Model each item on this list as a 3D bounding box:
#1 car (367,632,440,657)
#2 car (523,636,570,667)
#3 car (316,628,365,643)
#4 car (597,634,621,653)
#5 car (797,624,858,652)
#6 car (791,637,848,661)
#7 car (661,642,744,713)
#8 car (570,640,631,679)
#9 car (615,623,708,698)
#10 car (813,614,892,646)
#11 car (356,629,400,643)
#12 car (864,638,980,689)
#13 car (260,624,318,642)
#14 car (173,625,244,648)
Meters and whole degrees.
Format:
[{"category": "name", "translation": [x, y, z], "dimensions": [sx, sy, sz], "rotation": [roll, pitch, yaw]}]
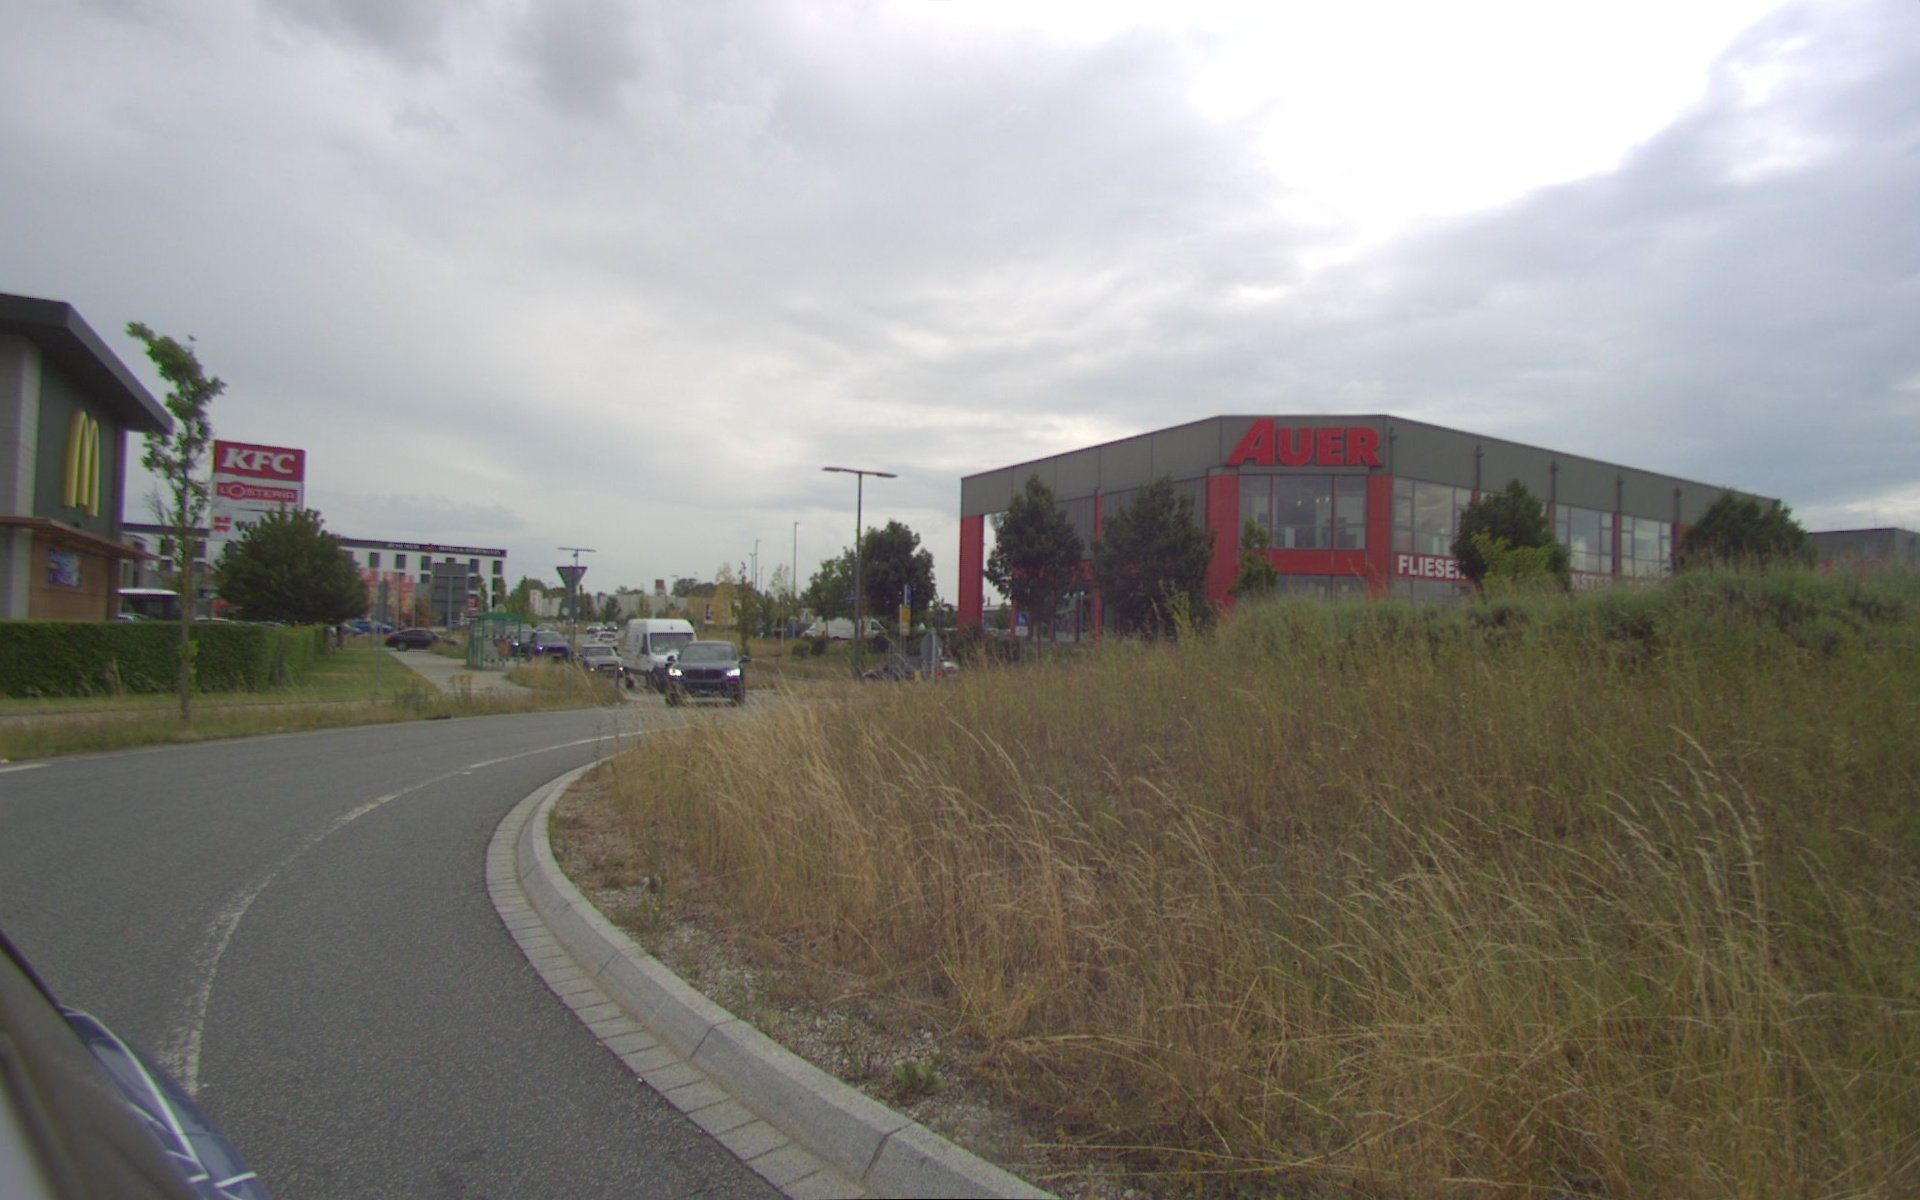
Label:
[{"category": "car", "translation": [-35.888, 2.837, 65.243], "dimensions": [3.934, 1.497, 1.852], "rotation": [1, -1, -36]}, {"category": "car", "translation": [-23.345, 2.900, 57.073], "dimensions": [1.836, 1.620, 4.012], "rotation": [3, -2, -31]}, {"category": "car", "translation": [-63.745, 3.643, 104.131], "dimensions": [3.931, 1.497, 1.853], "rotation": [2, -2, -19]}, {"category": "car", "translation": [-27.839, 3.444, 80.243], "dimensions": [1.698, 1.419, 4.657], "rotation": [2, -4, -19]}, {"category": "car", "translation": [-11.722, 3.308, 89.486], "dimensions": [4.971, 2.391, 2.071], "rotation": [1, -1, -31]}, {"category": "car", "translation": [-13.538, 4.712, 97.429], "dimensions": [4.969, 2.240, 2.071], "rotation": [2, -2, -24]}, {"category": "car", "translation": [-6.541, 1.938, 26.087], "dimensions": [1.838, 1.620, 4.009], "rotation": [2, -2, -11]}, {"category": "car", "translation": [-16.495, 2.695, 46.368], "dimensions": [1.836, 1.620, 4.012], "rotation": [3, -2, -31]}, {"category": "car", "translation": [-11.205, 2.148, 37.711], "dimensions": [1.992, 2.547, 6.124], "rotation": [3, -2, -29]}, {"category": "car", "translation": [-9.042, 2.515, 85.240], "dimensions": [6.309, 2.644, 2.071], "rotation": [1, -1, -28]}, {"category": "car", "translation": [-65.076, 4.043, 113.209], "dimensions": [3.932, 1.497, 1.852], "rotation": [1, -1, -15]}, {"category": "car", "translation": [-1.461, 2.269, 37.329], "dimensions": [1.969, 1.620, 4.302], "rotation": [1, -1, -42]}, {"category": "car", "translation": [-59.268, 2.900, 89.422], "dimensions": [3.930, 1.534, 1.853], "rotation": [2, -2, -23]}, {"category": "car", "translation": [-52.964, 2.535, 71.389], "dimensions": [3.934, 1.497, 1.852], "rotation": [1, -1, -36]}]
